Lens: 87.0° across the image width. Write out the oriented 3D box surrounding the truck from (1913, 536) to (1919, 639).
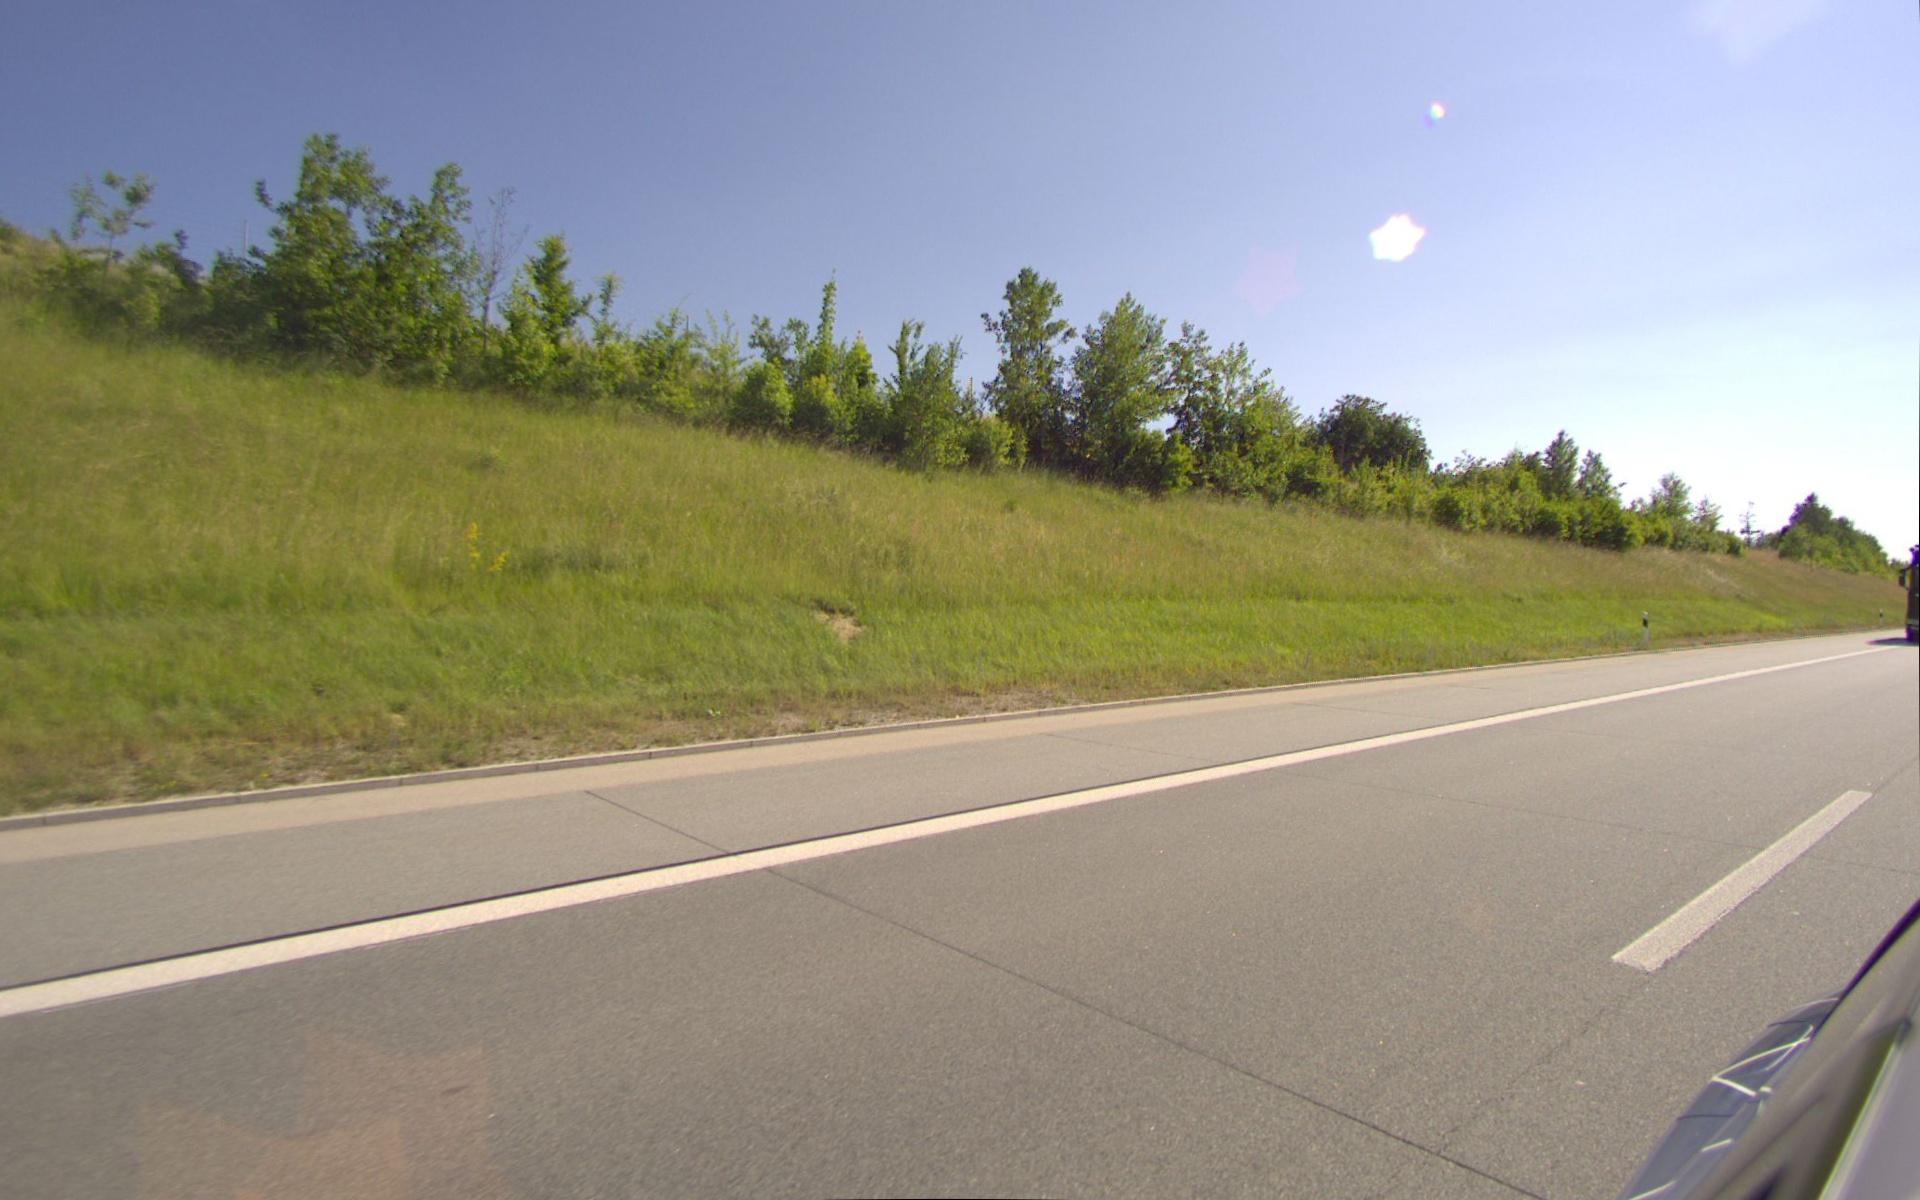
[{"bbox_3d":[42.178,-0.507,41.553,13.162,3.867,2.621,0,-2,-39],"label":"truck"}]
